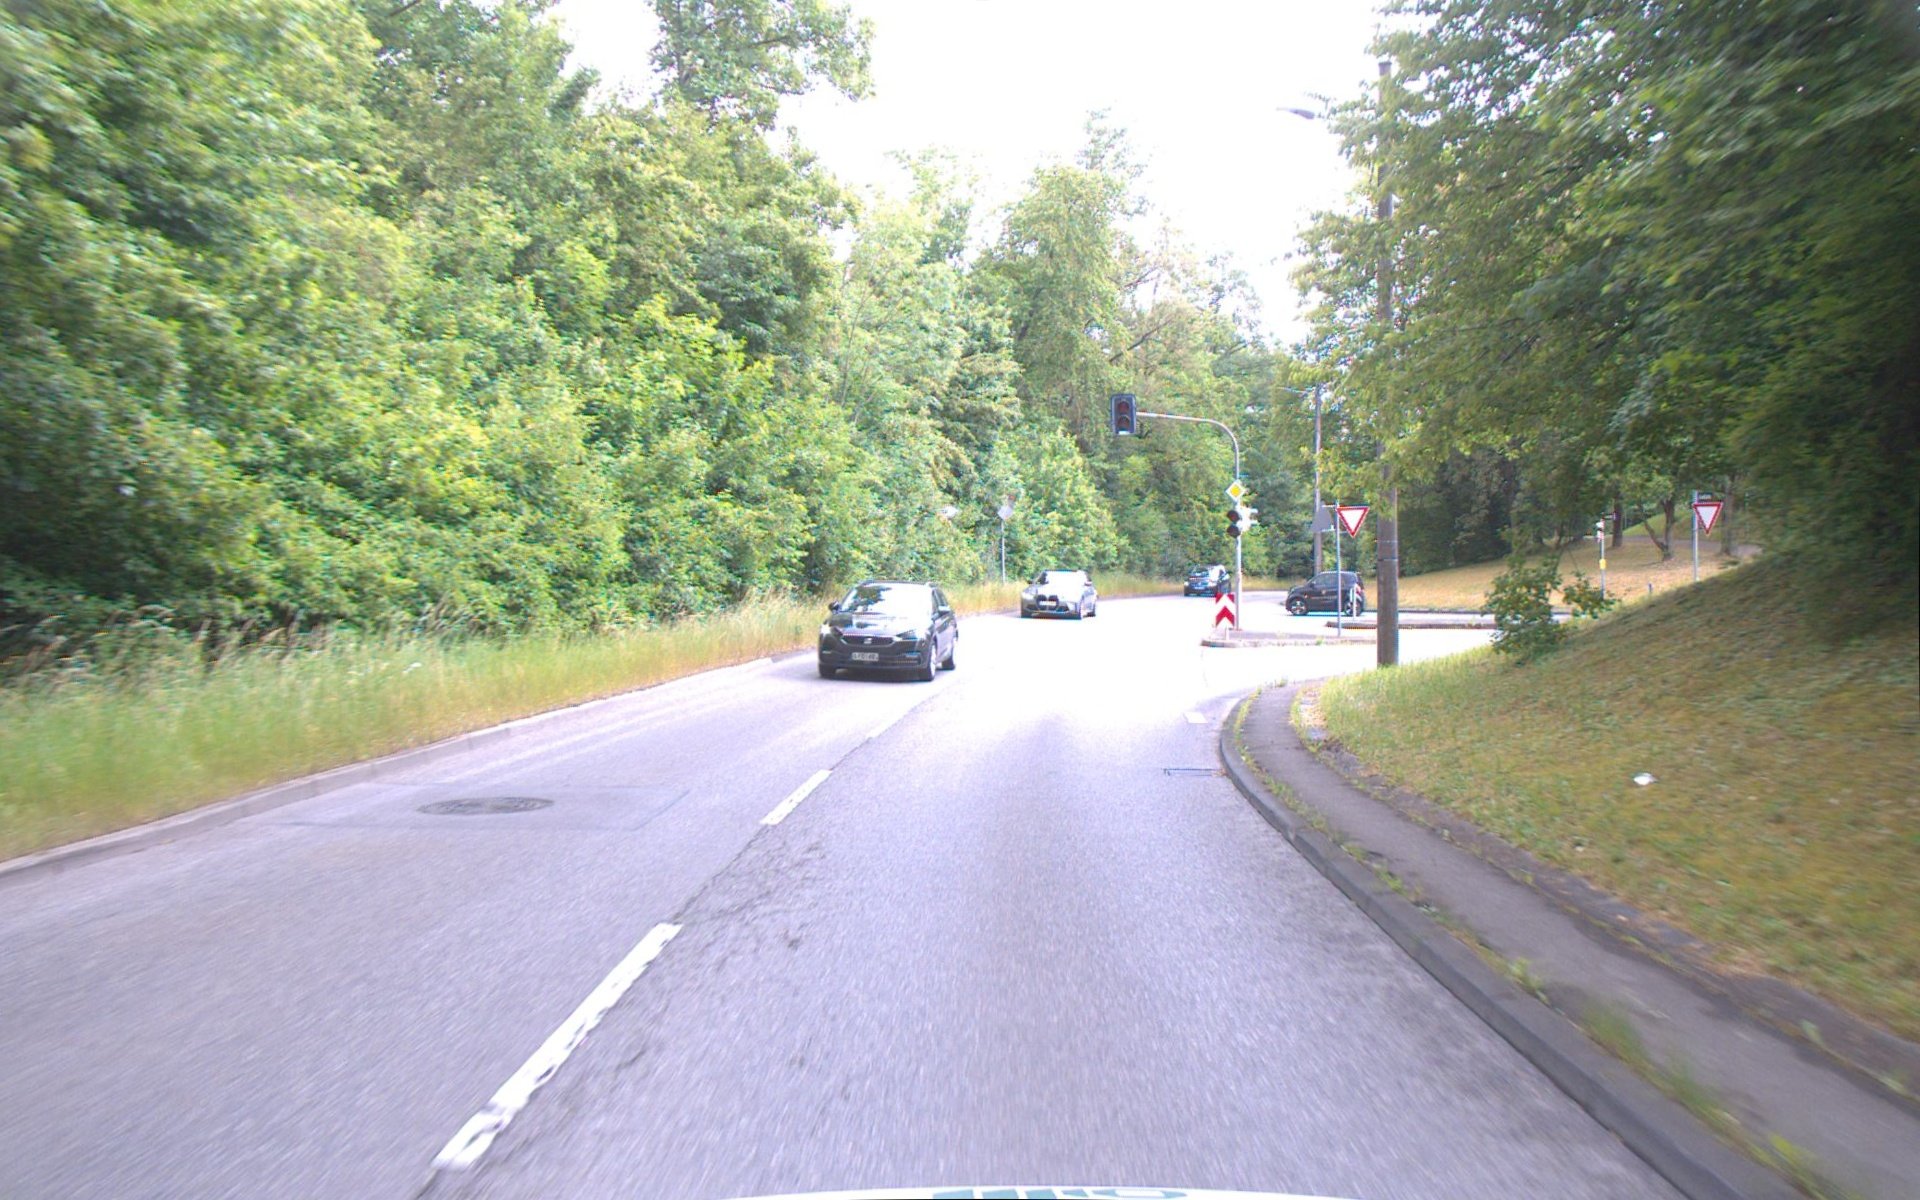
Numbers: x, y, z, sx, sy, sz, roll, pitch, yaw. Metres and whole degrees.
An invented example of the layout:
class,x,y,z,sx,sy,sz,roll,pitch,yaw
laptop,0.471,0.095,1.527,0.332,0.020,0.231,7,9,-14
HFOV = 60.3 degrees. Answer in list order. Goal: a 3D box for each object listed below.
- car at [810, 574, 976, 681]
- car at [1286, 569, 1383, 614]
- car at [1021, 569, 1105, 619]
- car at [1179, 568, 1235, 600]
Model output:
class,x,y,z,sx,sy,sz,roll,pitch,yaw
car,-0.957,0.362,26.362,1.764,1.459,4.664,2,1,8
car,13.051,-0.291,57.588,3.233,1.520,1.669,0,1,15
car,3.252,-0.205,51.252,1.858,1.377,4.846,3,1,12
car,12.313,-0.827,82.229,1.752,1.541,4.843,1,1,21
